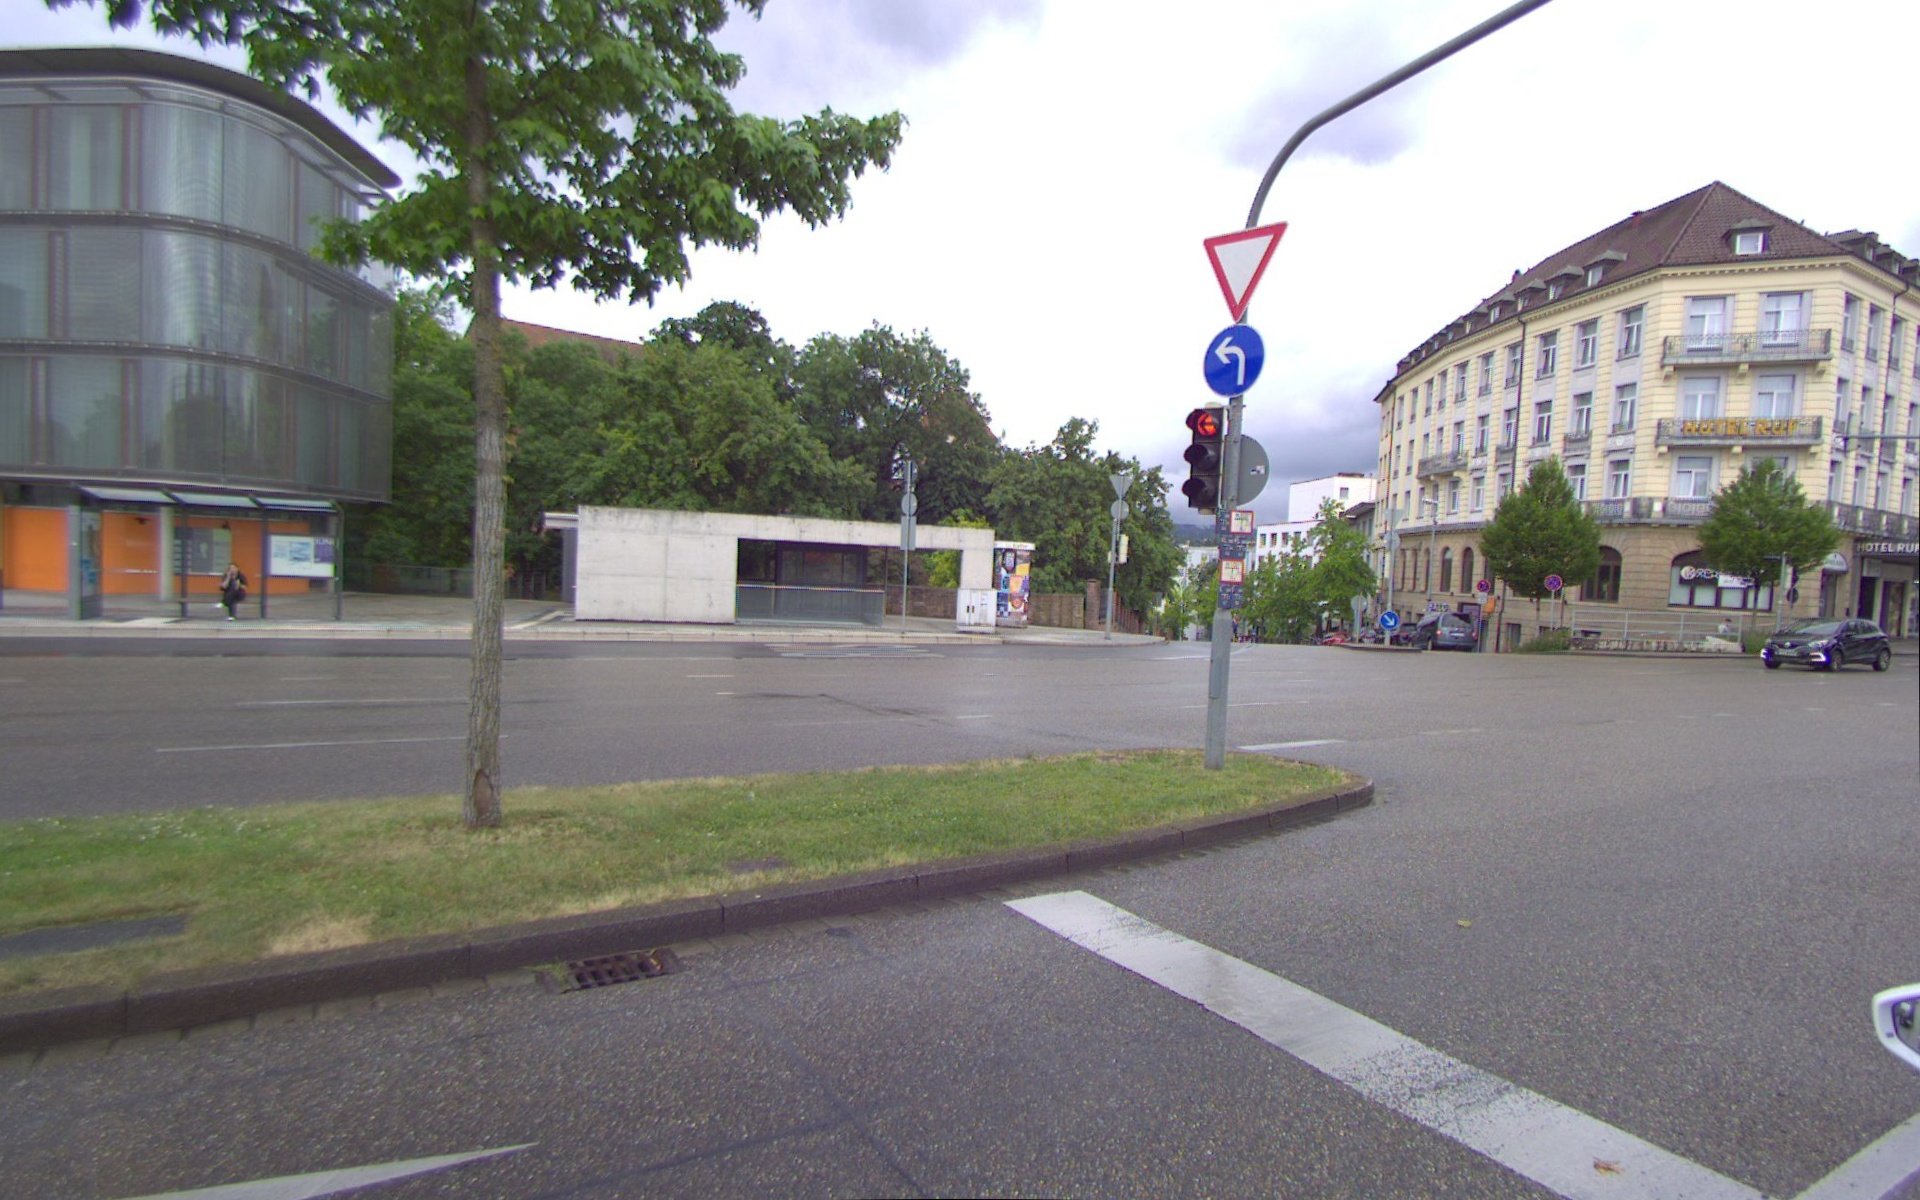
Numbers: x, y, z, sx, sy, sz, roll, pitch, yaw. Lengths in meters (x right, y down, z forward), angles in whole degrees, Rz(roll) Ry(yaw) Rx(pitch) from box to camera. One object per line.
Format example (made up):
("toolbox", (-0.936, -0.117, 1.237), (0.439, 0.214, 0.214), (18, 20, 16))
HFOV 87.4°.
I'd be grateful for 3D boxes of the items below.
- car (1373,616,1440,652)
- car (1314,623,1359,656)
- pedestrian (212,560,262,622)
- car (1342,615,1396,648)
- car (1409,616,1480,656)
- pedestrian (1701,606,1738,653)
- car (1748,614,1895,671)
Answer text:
("car", (22.901, 1.717, 51.691), (1.959, 1.662, 4.002), (2, 0, 6))
("car", (23.580, 2.476, 63.044), (1.741, 1.836, 3.624), (2, 1, 7))
("pedestrian", (-16.089, -0.194, 22.376), (0.780, 1.341, 0.798), (1, 1, -28))
("car", (23.157, 1.772, 56.990), (1.757, 1.662, 3.916), (2, 1, 6))
("car", (21.729, 1.576, 45.184), (1.764, 1.589, 4.002), (2, 1, 9))
("pedestrian", (31.825, 1.236, 42.109), (1.010, 1.903, 0.859), (1, 1, -30))
("car", (25.953, 1.253, 30.262), (4.021, 1.551, 1.767), (1, 2, -24))
